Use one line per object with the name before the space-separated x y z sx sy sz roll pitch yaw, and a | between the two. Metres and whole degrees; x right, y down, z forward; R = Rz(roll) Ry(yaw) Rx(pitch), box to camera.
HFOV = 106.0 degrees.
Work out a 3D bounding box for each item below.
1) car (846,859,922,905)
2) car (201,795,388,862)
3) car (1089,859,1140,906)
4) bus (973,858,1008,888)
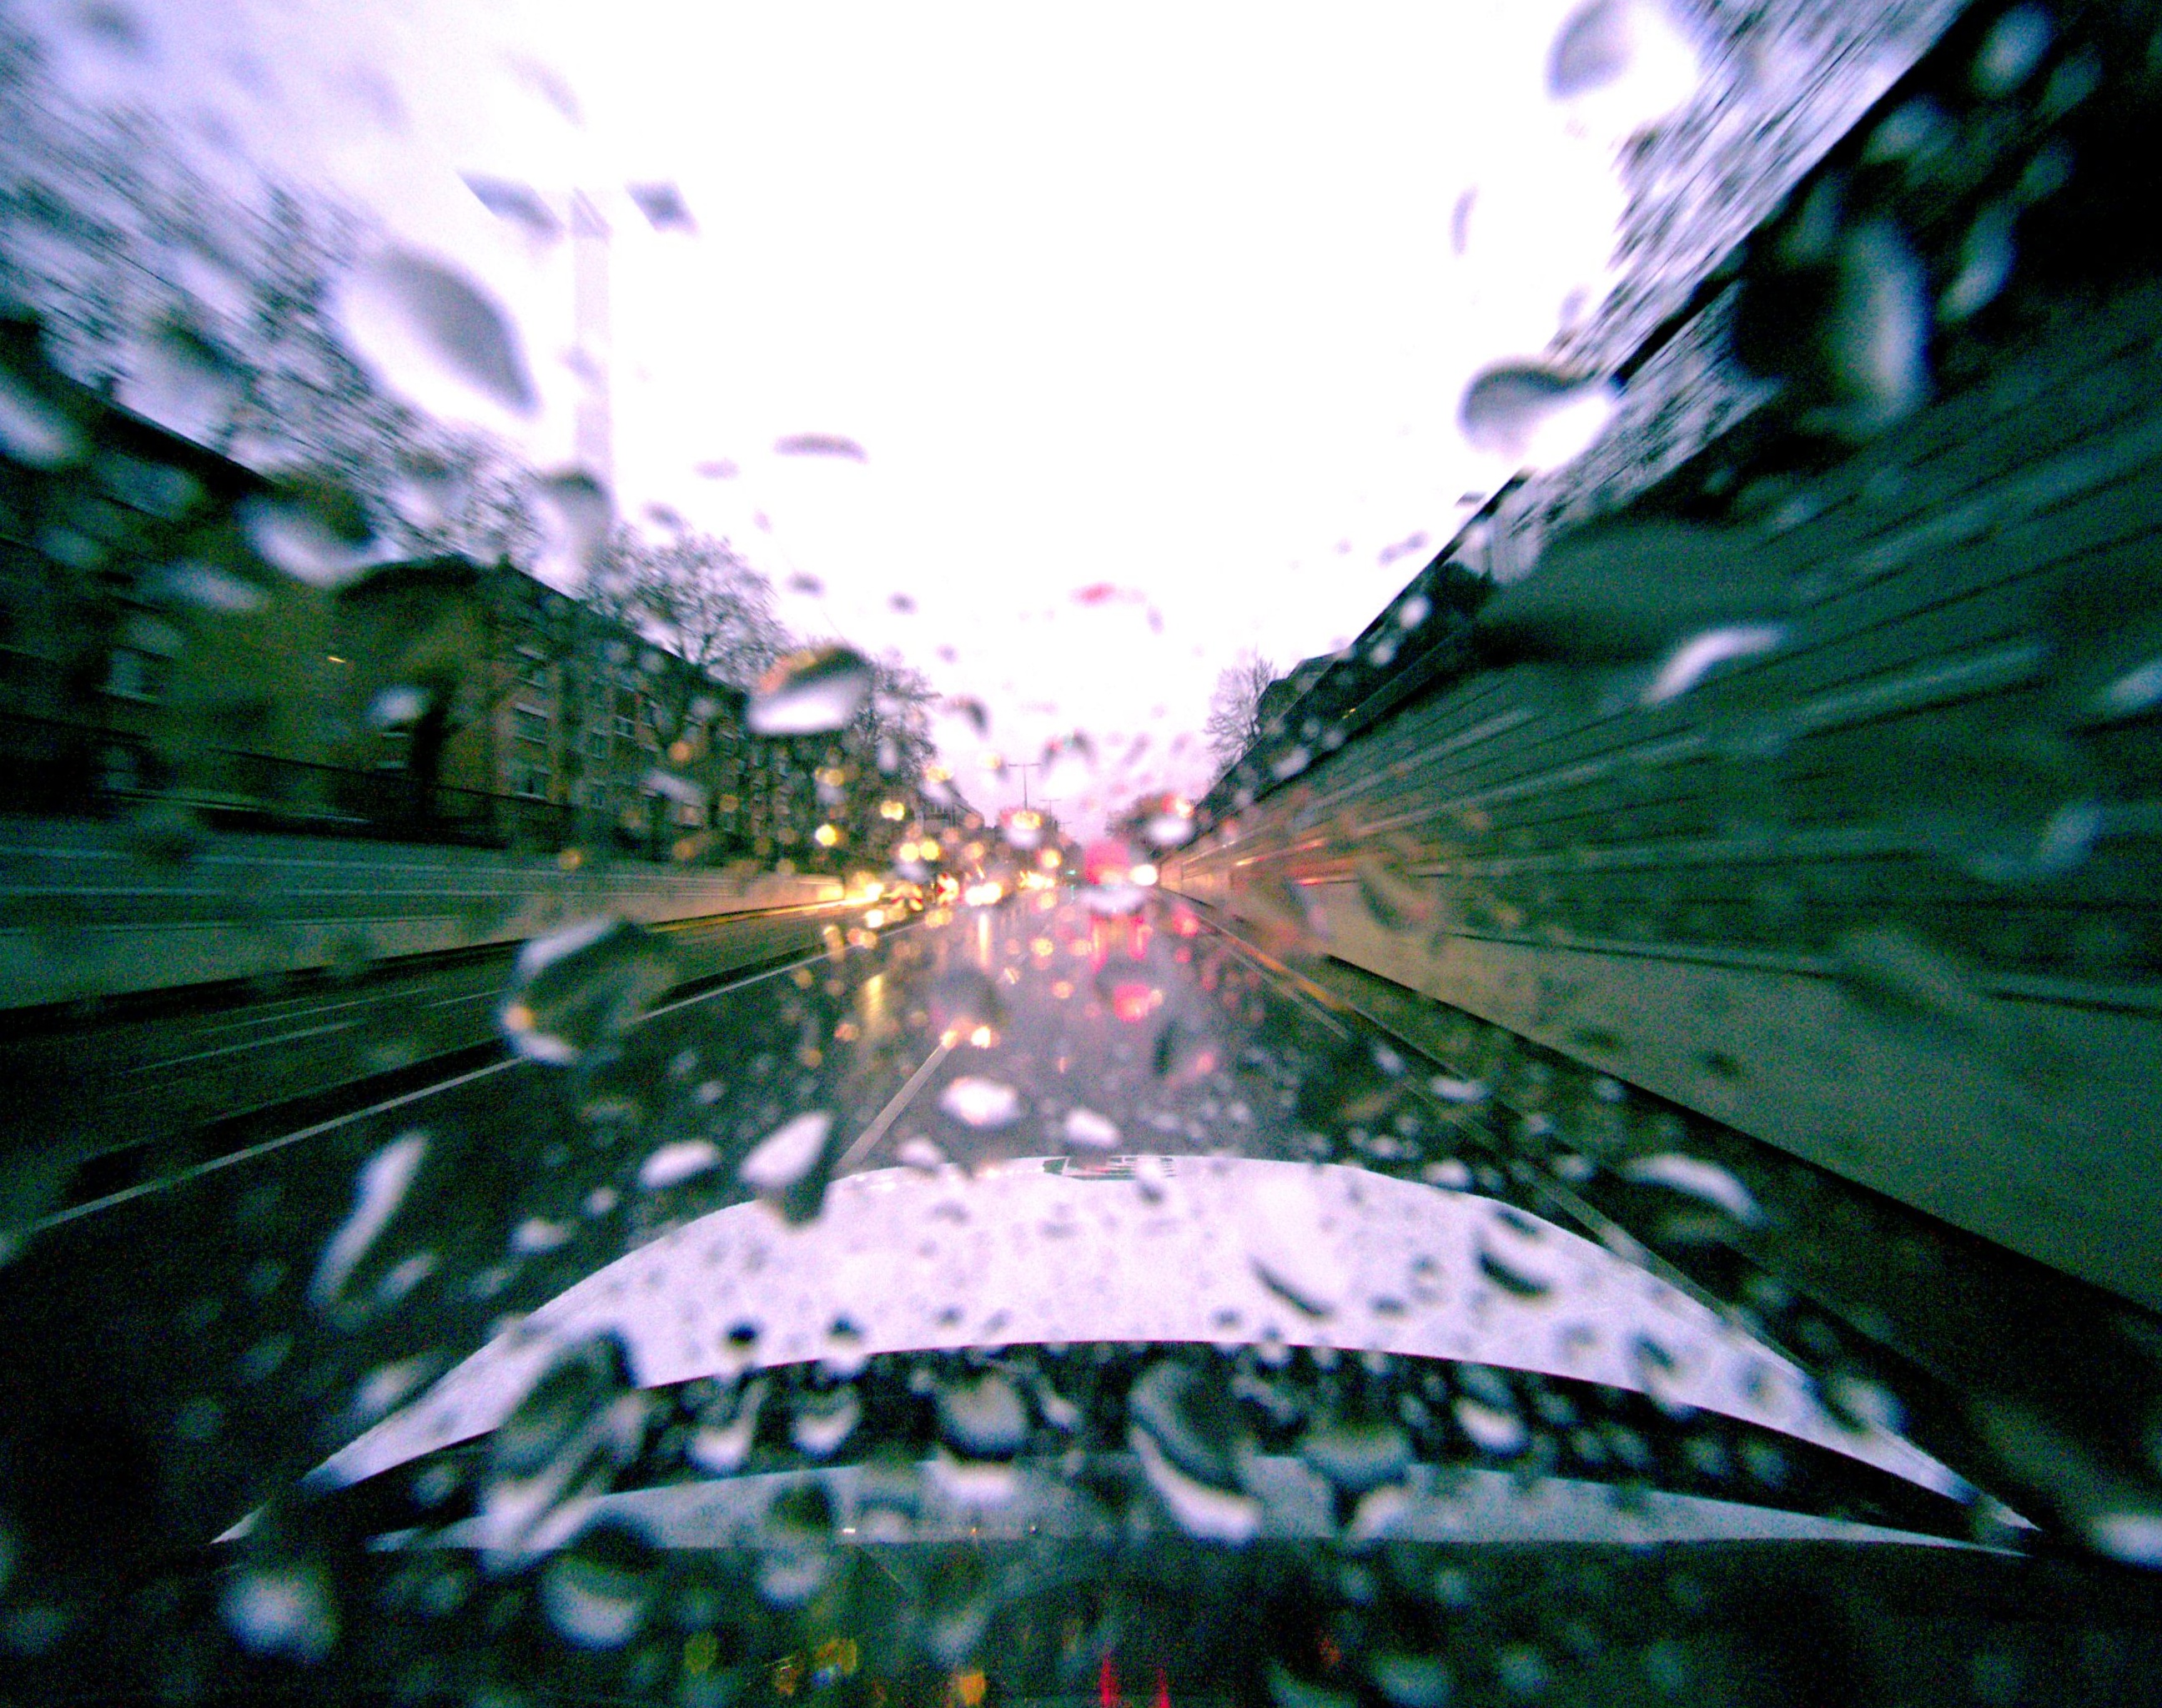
car | -7.622 1.042 31.897 1.778 1.592 3.843 -4 0 2
car | -21.493 -0.630 22.459 1.560 1.473 3.625 -4 -3 1
car | 1.084 0.929 26.522 1.526 1.397 3.434 -1 -2 2
bus | -6.481 1.345 59.034 1.668 1.965 5.176 -5 -1 2
